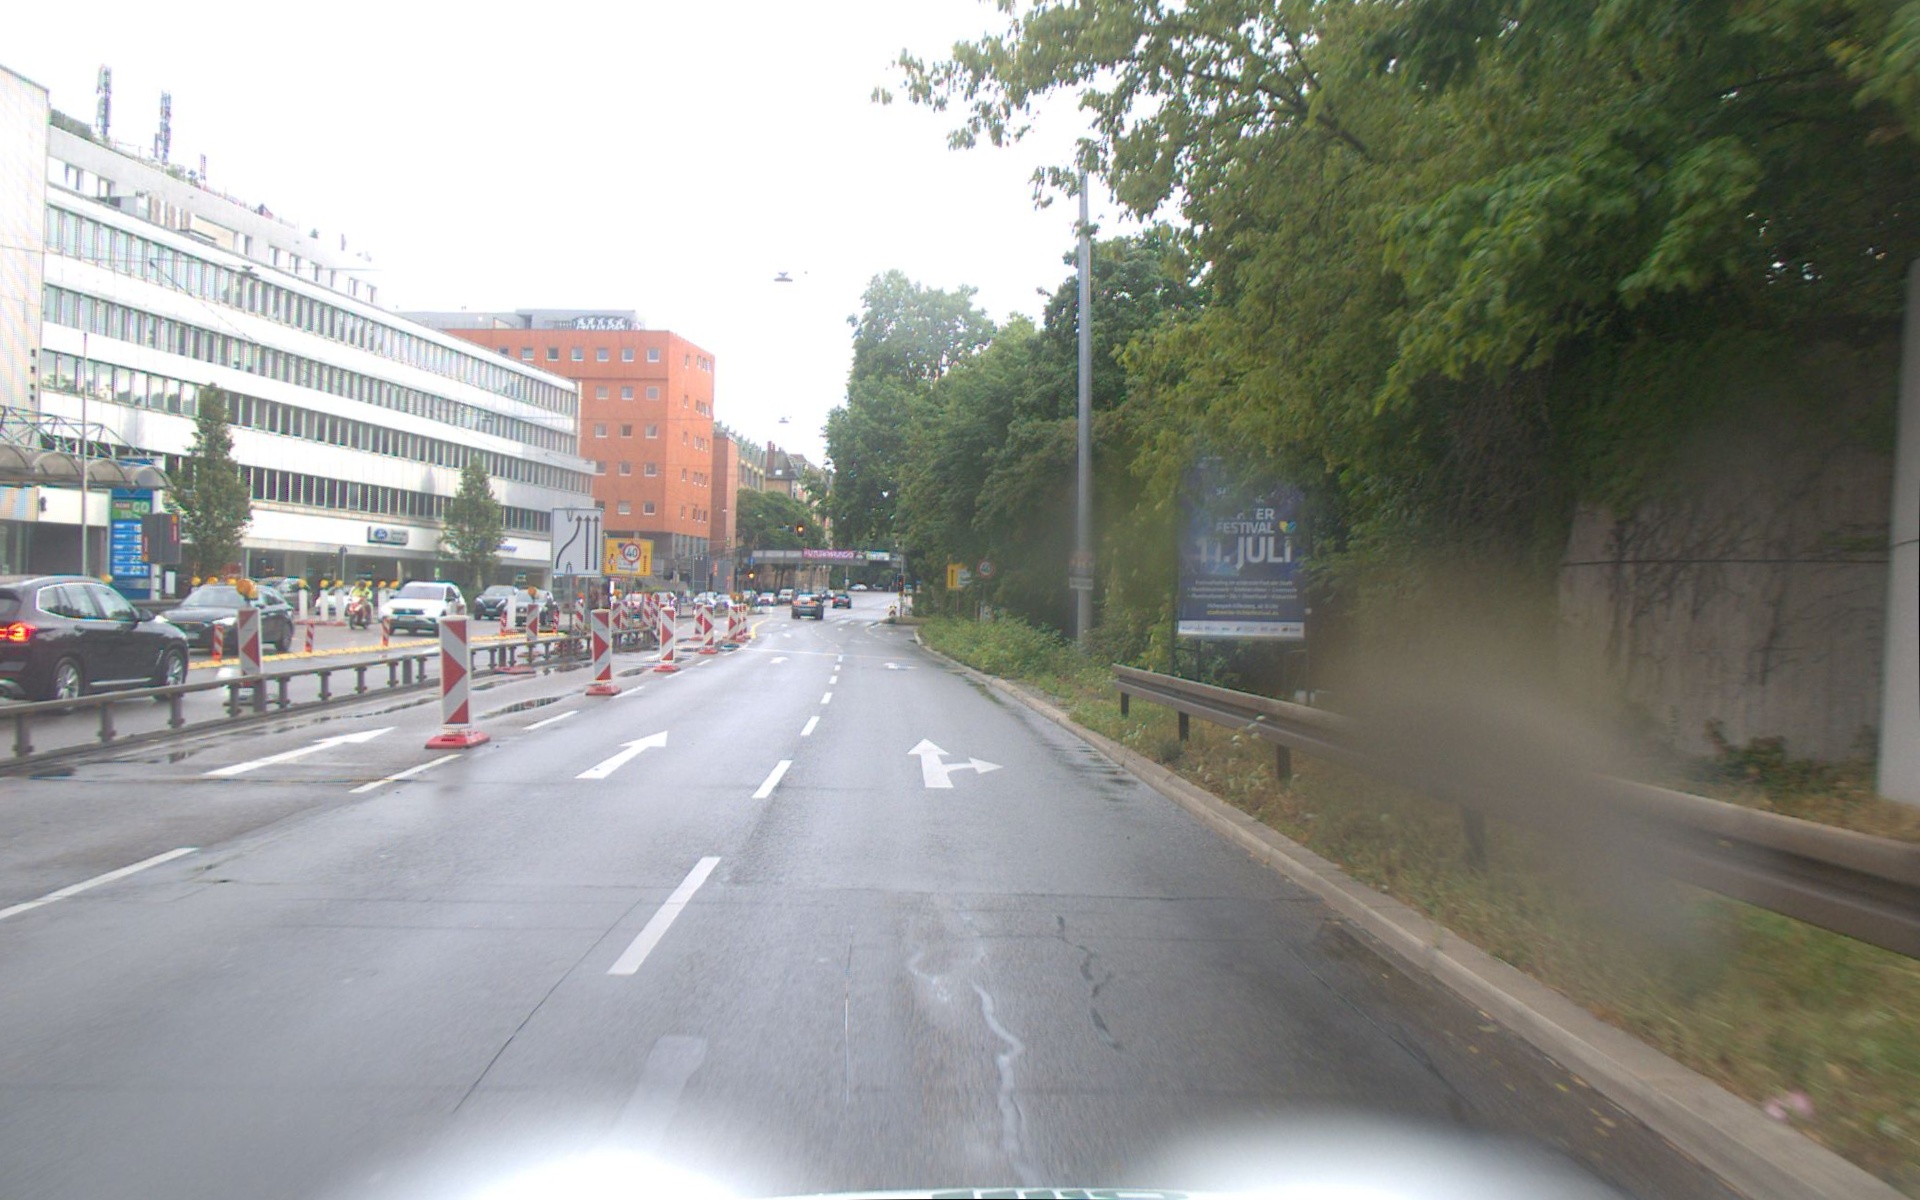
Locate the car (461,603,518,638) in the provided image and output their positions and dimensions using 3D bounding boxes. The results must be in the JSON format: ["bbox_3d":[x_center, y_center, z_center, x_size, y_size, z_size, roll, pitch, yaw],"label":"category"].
[{"bbox_3d":[-21.568,0.914,75.987,1.676,1.563,4.075,0,0,-4],"label":"car"}]

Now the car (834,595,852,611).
[{"bbox_3d":[-12.758,0.316,180.128,1.727,1.726,3.704,0,0,-1],"label":"car"}]

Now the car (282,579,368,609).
[{"bbox_3d":[-36.818,-0.317,95.969,4.339,1.681,1.830,1,-1,-38],"label":"car"}]

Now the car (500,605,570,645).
[{"bbox_3d":[-17.440,1.006,68.047,1.920,1.547,4.297,1,0,-3],"label":"car"}]

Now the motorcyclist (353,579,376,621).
[{"bbox_3d":[-20.197,-0.001,56.099,0.576,1.387,0.561,0,0,-3],"label":"motorcyclist"}]

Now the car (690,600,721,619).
[{"bbox_3d":[-22.030,0.839,143.101,1.770,1.586,4.302,1,0,3],"label":"car"}]

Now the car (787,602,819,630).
[{"bbox_3d":[-11.282,1.162,119.128,2.079,1.765,4.196,4,1,-3],"label":"car"}]

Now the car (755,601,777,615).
[{"bbox_3d":[-21.073,0.842,179.636,1.792,1.528,4.373,0,0,0],"label":"car"}]

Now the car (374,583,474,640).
[{"bbox_3d":[-17.136,0.365,53.074,1.900,1.719,4.577,1,0,-3],"label":"car"}]

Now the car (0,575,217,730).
[{"bbox_3d":[-11.503,0.557,20.920,1.907,1.625,4.671,4,1,2],"label":"car"}]

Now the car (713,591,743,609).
[{"bbox_3d":[-18.592,-0.006,132.650,1.653,1.378,4.116,0,0,3],"label":"car"}]

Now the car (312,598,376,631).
[{"bbox_3d":[-30.622,0.712,82.305,1.618,1.562,3.757,0,0,3],"label":"car"}]

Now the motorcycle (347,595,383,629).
[{"bbox_3d":[-20.198,0.412,56.179,0.567,1.121,2.026,0,0,-2],"label":"motorcycle"}]

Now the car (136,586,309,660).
[{"bbox_3d":[-15.930,0.477,36.005,1.814,1.492,4.705,0,0,-3],"label":"car"}]

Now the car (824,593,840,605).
[{"bbox_3d":[-18.764,-0.133,242.240,1.953,1.545,3.999,2,0,-1],"label":"car"}]

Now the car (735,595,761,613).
[{"bbox_3d":[-21.341,0.390,166.520,1.807,1.768,4.606,1,0,3],"label":"car"}]

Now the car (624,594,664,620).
[{"bbox_3d":[-18.394,0.402,96.371,1.701,1.428,4.286,2,0,-4],"label":"car"}]
